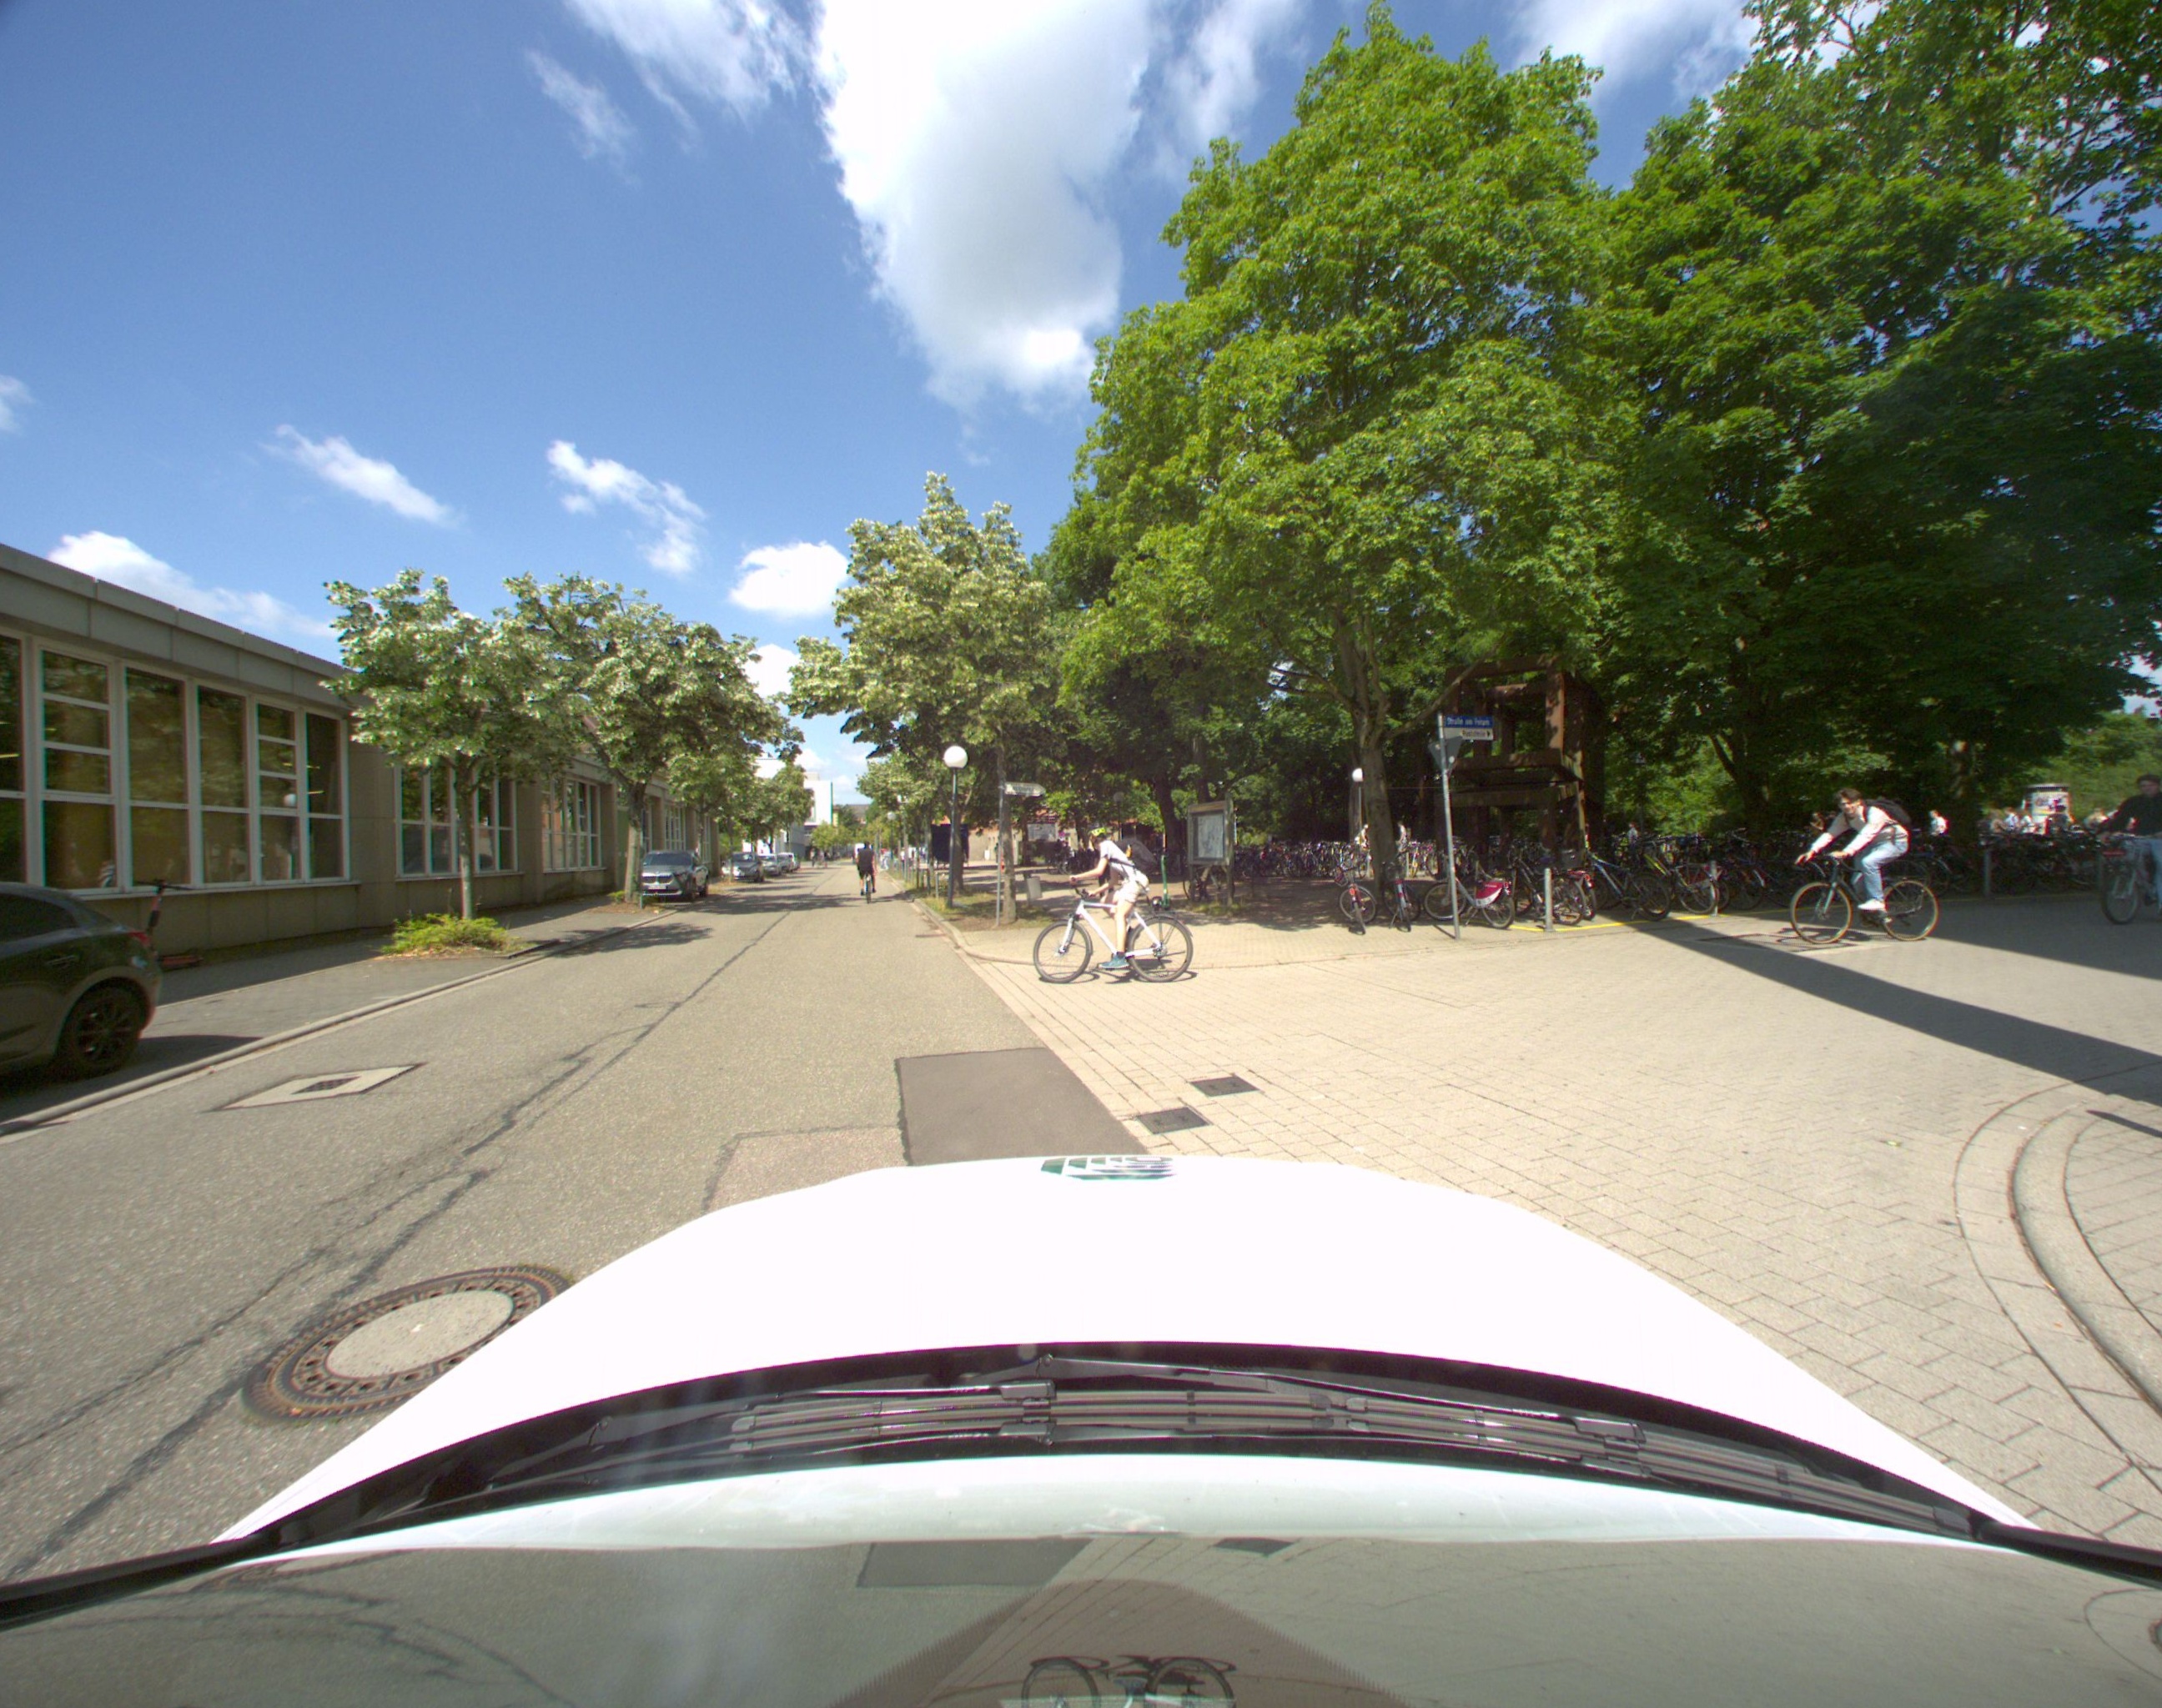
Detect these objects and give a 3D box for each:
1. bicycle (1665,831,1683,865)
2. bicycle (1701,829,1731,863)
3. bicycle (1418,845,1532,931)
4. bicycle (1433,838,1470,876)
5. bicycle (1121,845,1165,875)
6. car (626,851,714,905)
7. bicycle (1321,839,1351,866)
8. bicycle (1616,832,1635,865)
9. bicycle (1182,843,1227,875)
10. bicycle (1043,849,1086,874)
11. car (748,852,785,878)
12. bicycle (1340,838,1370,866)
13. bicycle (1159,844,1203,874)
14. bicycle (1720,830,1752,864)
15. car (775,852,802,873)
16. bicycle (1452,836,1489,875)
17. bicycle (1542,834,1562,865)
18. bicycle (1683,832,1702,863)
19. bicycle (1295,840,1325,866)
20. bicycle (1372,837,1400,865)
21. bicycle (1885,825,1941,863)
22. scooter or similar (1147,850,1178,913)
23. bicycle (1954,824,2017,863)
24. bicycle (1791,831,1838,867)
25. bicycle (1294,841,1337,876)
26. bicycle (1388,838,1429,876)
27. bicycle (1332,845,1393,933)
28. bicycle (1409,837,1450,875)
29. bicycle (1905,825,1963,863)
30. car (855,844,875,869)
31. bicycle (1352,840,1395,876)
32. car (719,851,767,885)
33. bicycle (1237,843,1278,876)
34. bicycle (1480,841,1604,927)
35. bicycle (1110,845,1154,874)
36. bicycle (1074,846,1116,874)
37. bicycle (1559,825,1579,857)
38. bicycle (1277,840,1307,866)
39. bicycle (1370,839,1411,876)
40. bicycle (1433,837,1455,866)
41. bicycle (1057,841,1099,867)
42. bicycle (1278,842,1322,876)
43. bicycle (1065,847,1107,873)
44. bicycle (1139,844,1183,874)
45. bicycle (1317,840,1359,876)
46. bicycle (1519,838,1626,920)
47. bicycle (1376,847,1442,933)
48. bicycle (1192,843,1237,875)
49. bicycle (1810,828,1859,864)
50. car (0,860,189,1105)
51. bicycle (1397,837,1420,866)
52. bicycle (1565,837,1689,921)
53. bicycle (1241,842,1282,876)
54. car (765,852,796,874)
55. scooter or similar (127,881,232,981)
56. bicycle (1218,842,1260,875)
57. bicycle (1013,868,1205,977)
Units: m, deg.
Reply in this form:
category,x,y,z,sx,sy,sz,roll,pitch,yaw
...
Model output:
category,x,y,z,sx,sy,sz,roll,pitch,yaw
bicycle,19.662,-0.208,27.023,0.468,1.083,1.711,0,2,35
bicycle,20.772,-0.282,26.647,0.468,1.083,1.710,0,1,27
bicycle,5.586,0.443,11.648,0.496,1.108,1.621,-3,1,-15
bicycle,11.288,0.072,24.802,0.496,1.108,1.919,0,2,41
bicycle,2.518,0.227,32.848,2.042,1.108,0.497,-2,2,-43
car,-13.432,0.710,26.859,1.837,1.617,4.512,0,0,-17
bicycle,10.793,-0.077,34.496,1.709,1.083,0.468,-2,2,-45
bicycle,18.696,-0.210,27.953,0.468,1.083,1.711,0,2,35
bicycle,4.655,0.172,30.565,2.042,1.108,0.497,-2,2,-43
bicycle,-0.731,0.332,37.135,2.039,1.108,0.497,-2,1,-35
car,-20.302,0.695,52.750,1.837,1.541,4.512,-2,1,-17
bicycle,11.304,-0.090,33.610,1.709,1.083,0.468,-2,2,-45
bicycle,3.876,0.168,31.448,2.042,1.108,0.497,-2,2,-43
bicycle,21.228,-0.236,26.399,0.468,1.083,1.710,0,1,27
car,-23.971,0.666,66.934,1.837,1.541,4.512,-2,1,-17
bicycle,11.740,0.026,24.505,0.496,1.108,1.919,0,2,41
bicycle,16.904,-0.182,29.213,0.468,1.083,1.711,0,2,35
bicycle,20.051,-0.218,26.721,0.446,0.962,1.751,0,2,35
bicycle,9.951,-0.064,35.392,1.709,1.083,0.468,-2,2,-45
bicycle,12.350,-0.140,32.965,0.468,1.083,1.710,0,2,41
bicycle,24.803,-0.304,24.304,0.468,1.083,1.708,0,1,20
scooter or similar,1.650,0.525,16.338,0.289,1.194,1.191,-2,1,20
bicycle,26.128,-0.322,23.548,0.468,1.083,1.708,0,1,20
bicycle,22.786,-0.169,25.321,0.468,1.083,1.708,0,1,20
bicycle,7.889,0.147,27.329,0.496,1.108,2.017,0,2,44
bicycle,10.260,0.072,25.478,0.496,1.108,1.918,0,2,44
bicycle,4.114,0.477,12.006,0.633,1.159,1.636,-3,1,13
bicycle,10.844,0.042,25.312,0.496,1.108,1.918,0,2,44
bicycle,25.268,-0.310,24.154,0.468,1.083,1.708,0,1,20
car,-27.252,0.367,102.514,2.267,3.014,5.707,0,-1,-16
bicycle,9.472,0.111,26.343,0.496,1.108,2.017,0,2,44
car,-17.349,0.672,41.990,1.837,1.633,4.512,-2,1,-17
bicycle,6.286,0.186,28.907,0.496,1.108,2.043,0,2,42
bicycle,6.520,0.388,11.608,0.496,1.108,1.621,-3,1,-15
bicycle,2.100,0.216,33.312,2.042,1.108,0.497,-2,2,-43
bicycle,0.613,0.242,35.271,2.042,1.108,0.497,-2,2,-43
bicycle,17.330,-0.474,28.907,0.468,1.083,1.711,0,2,35
bicycle,9.287,-0.055,35.827,1.709,1.083,0.468,-2,2,-45
bicycle,9.884,0.095,26.000,0.496,1.108,1.918,0,2,44
bicycle,14.069,-0.126,31.560,0.468,1.083,1.711,0,2,35
bicycle,-0.117,-0.003,36.184,2.042,1.108,0.497,-2,2,-43
bicycle,7.476,0.147,27.750,0.496,1.108,2.017,0,2,44
bicycle,0.247,0.245,35.813,2.042,1.108,0.497,-2,2,-43
bicycle,3.186,0.191,32.358,2.042,1.108,0.497,-2,2,-43
bicycle,8.497,0.123,26.883,0.496,1.108,2.017,0,2,44
bicycle,7.209,0.332,12.032,0.494,1.108,1.628,-3,1,-3
bicycle,4.751,0.482,11.890,0.584,1.108,1.753,-3,1,13
bicycle,4.953,0.162,30.114,2.042,1.108,0.497,-2,2,-43
bicycle,23.343,-0.270,25.260,0.468,1.083,1.708,0,1,20
car,-7.277,0.816,4.167,1.651,1.476,4.190,0,1,-15
bicycle,12.980,-0.112,32.285,0.468,1.083,1.711,0,2,35
bicycle,7.789,0.321,11.701,0.495,1.108,1.624,-1,1,-10
bicycle,6.400,0.161,28.800,0.496,1.108,2.043,0,2,42
car,-22.565,0.670,61.286,1.837,1.541,4.512,-2,1,-17
scooter or similar,-12.103,0.998,10.963,0.289,1.226,1.154,-2,1,-12
bicycle,5.716,0.149,29.415,0.496,1.108,2.043,0,2,42
bicycle,0.335,0.761,9.205,2.054,1.108,0.606,-3,0,7
